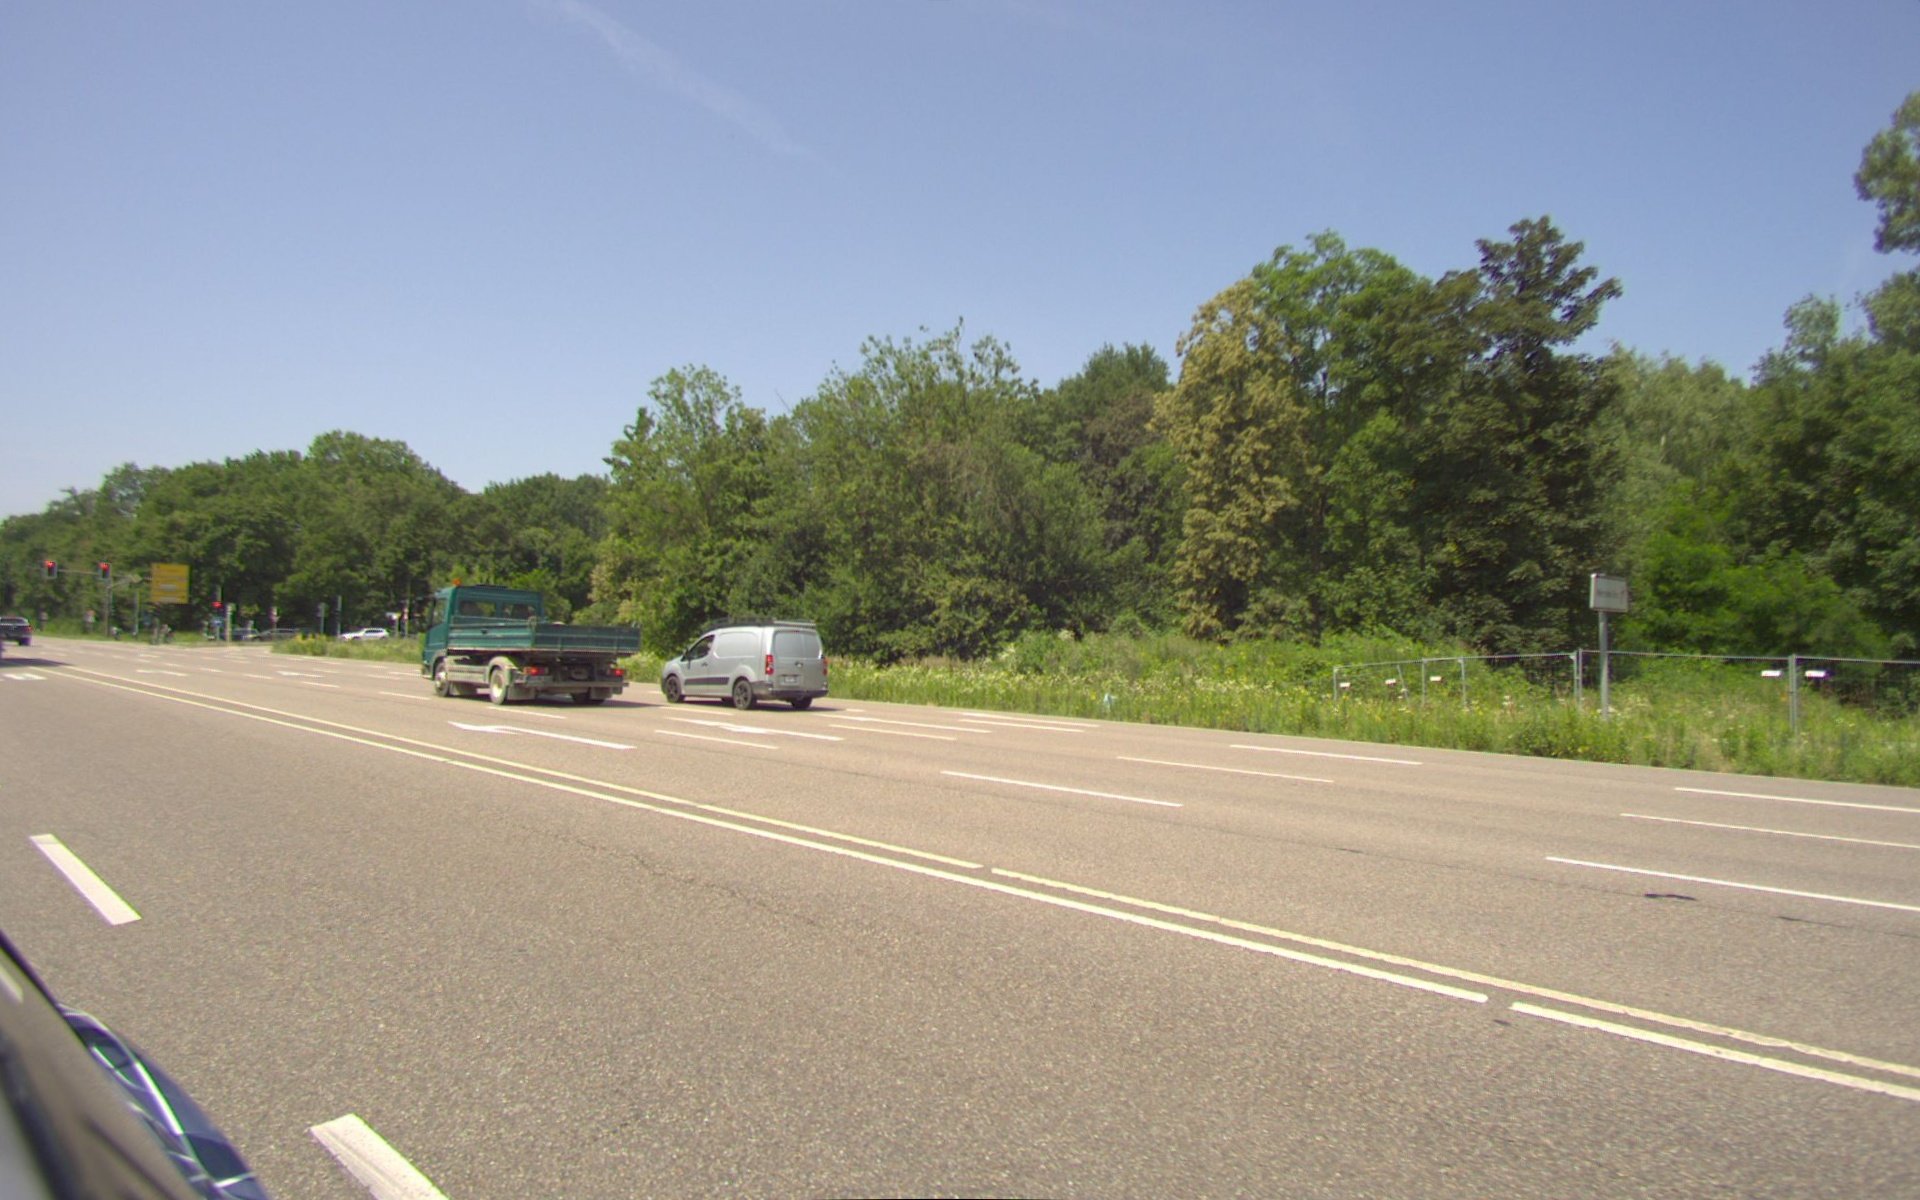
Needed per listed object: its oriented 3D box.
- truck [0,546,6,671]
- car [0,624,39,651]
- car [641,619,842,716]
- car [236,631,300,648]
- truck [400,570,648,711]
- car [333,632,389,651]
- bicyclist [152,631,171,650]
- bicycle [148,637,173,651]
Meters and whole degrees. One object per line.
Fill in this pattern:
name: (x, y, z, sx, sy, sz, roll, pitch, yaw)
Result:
truck: (-34.982, 0.343, 34.293, 11.314, 3.914, 2.718, -1, -2, 41)
car: (-61.948, 2.434, 66.189, 5.365, 1.691, 1.972, -2, -4, 43)
car: (-5.035, 1.492, 22.924, 4.821, 1.981, 1.972, -2, -5, 43)
car: (-67.527, 3.879, 98.810, 1.860, 1.530, 4.756, -1, -4, 40)
truck: (-9.745, 0.936, 22.274, 6.490, 2.677, 2.428, -2, -6, 42)
car: (-64.228, 4.470, 108.560, 2.066, 1.910, 4.752, -2, -4, 42)
bicyclist: (-64.132, 3.273, 81.257, 0.911, 1.471, 0.718, 1, -3, -10)
bicycle: (-64.159, 3.551, 81.228, 0.712, 1.071, 1.873, 1, -3, -11)
